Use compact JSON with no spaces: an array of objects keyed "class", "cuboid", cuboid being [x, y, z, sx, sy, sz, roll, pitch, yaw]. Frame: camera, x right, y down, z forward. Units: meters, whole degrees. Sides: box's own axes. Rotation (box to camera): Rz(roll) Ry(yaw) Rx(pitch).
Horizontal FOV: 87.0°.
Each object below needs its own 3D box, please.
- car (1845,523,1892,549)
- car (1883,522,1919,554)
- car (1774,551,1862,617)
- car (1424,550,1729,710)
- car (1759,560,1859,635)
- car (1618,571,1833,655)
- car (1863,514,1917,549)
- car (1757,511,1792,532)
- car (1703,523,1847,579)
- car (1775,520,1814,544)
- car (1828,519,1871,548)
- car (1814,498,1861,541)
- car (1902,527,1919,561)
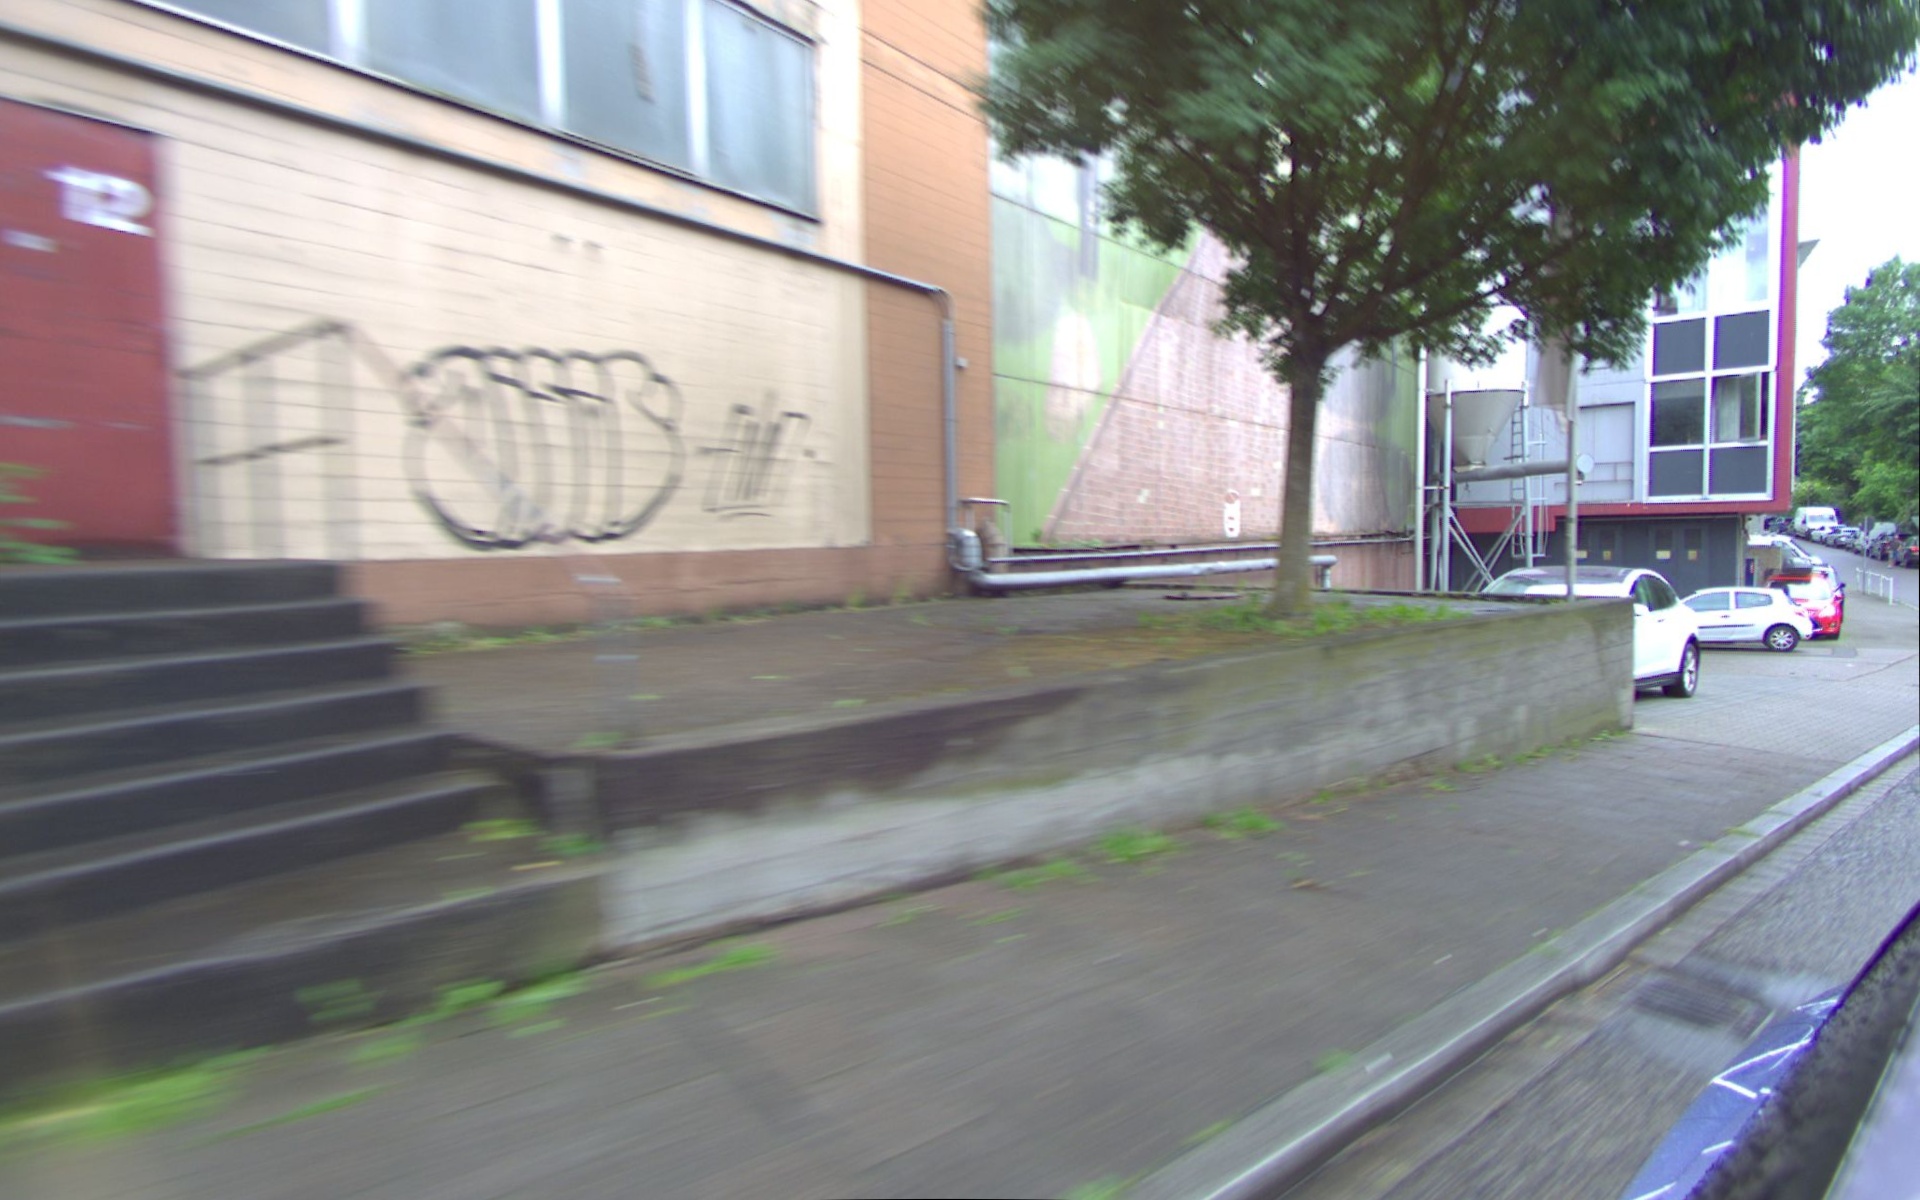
[{"class":"car","cuboid":[62.552,-4.415,69.721,1.898,1.670,3.952,3,6,35]},{"class":"car","cuboid":[54.870,-3.600,58.338,1.898,1.670,3.952,3,6,35]},{"class":"car","cuboid":[27.225,-0.584,32.173,1.925,1.731,3.945,5,8,40]},{"class":"car","cuboid":[7.928,0.300,12.808,4.829,1.637,1.857,1,2,-41]},{"class":"car","cuboid":[23.387,-0.149,27.928,1.924,1.731,4.429,4,5,40]},{"class":"car","cuboid":[18.599,0.240,24.804,3.972,1.550,1.851,6,6,37]},{"class":"car","cuboid":[58.884,-4.382,64.150,1.898,2.099,3.952,3,6,35]},{"class":"car","cuboid":[78.518,-7.582,97.597,1.892,1.963,3.964,2,6,28]},{"class":"car","cuboid":[37.142,-2.296,46.236,4.880,2.236,1.855,6,8,44]},{"class":"car","cuboid":[74.154,-6.090,89.993,1.892,2.058,3.964,2,6,28]},{"class":"car","cuboid":[65.966,-4.978,75.108,1.898,2.058,3.952,3,6,35]},{"class":"car","cuboid":[70.507,-6.529,81.407,2.210,3.320,5.019,3,6,35]},{"class":"car","cuboid":[51.070,-2.939,53.060,1.898,1.670,3.952,3,6,35]}]
